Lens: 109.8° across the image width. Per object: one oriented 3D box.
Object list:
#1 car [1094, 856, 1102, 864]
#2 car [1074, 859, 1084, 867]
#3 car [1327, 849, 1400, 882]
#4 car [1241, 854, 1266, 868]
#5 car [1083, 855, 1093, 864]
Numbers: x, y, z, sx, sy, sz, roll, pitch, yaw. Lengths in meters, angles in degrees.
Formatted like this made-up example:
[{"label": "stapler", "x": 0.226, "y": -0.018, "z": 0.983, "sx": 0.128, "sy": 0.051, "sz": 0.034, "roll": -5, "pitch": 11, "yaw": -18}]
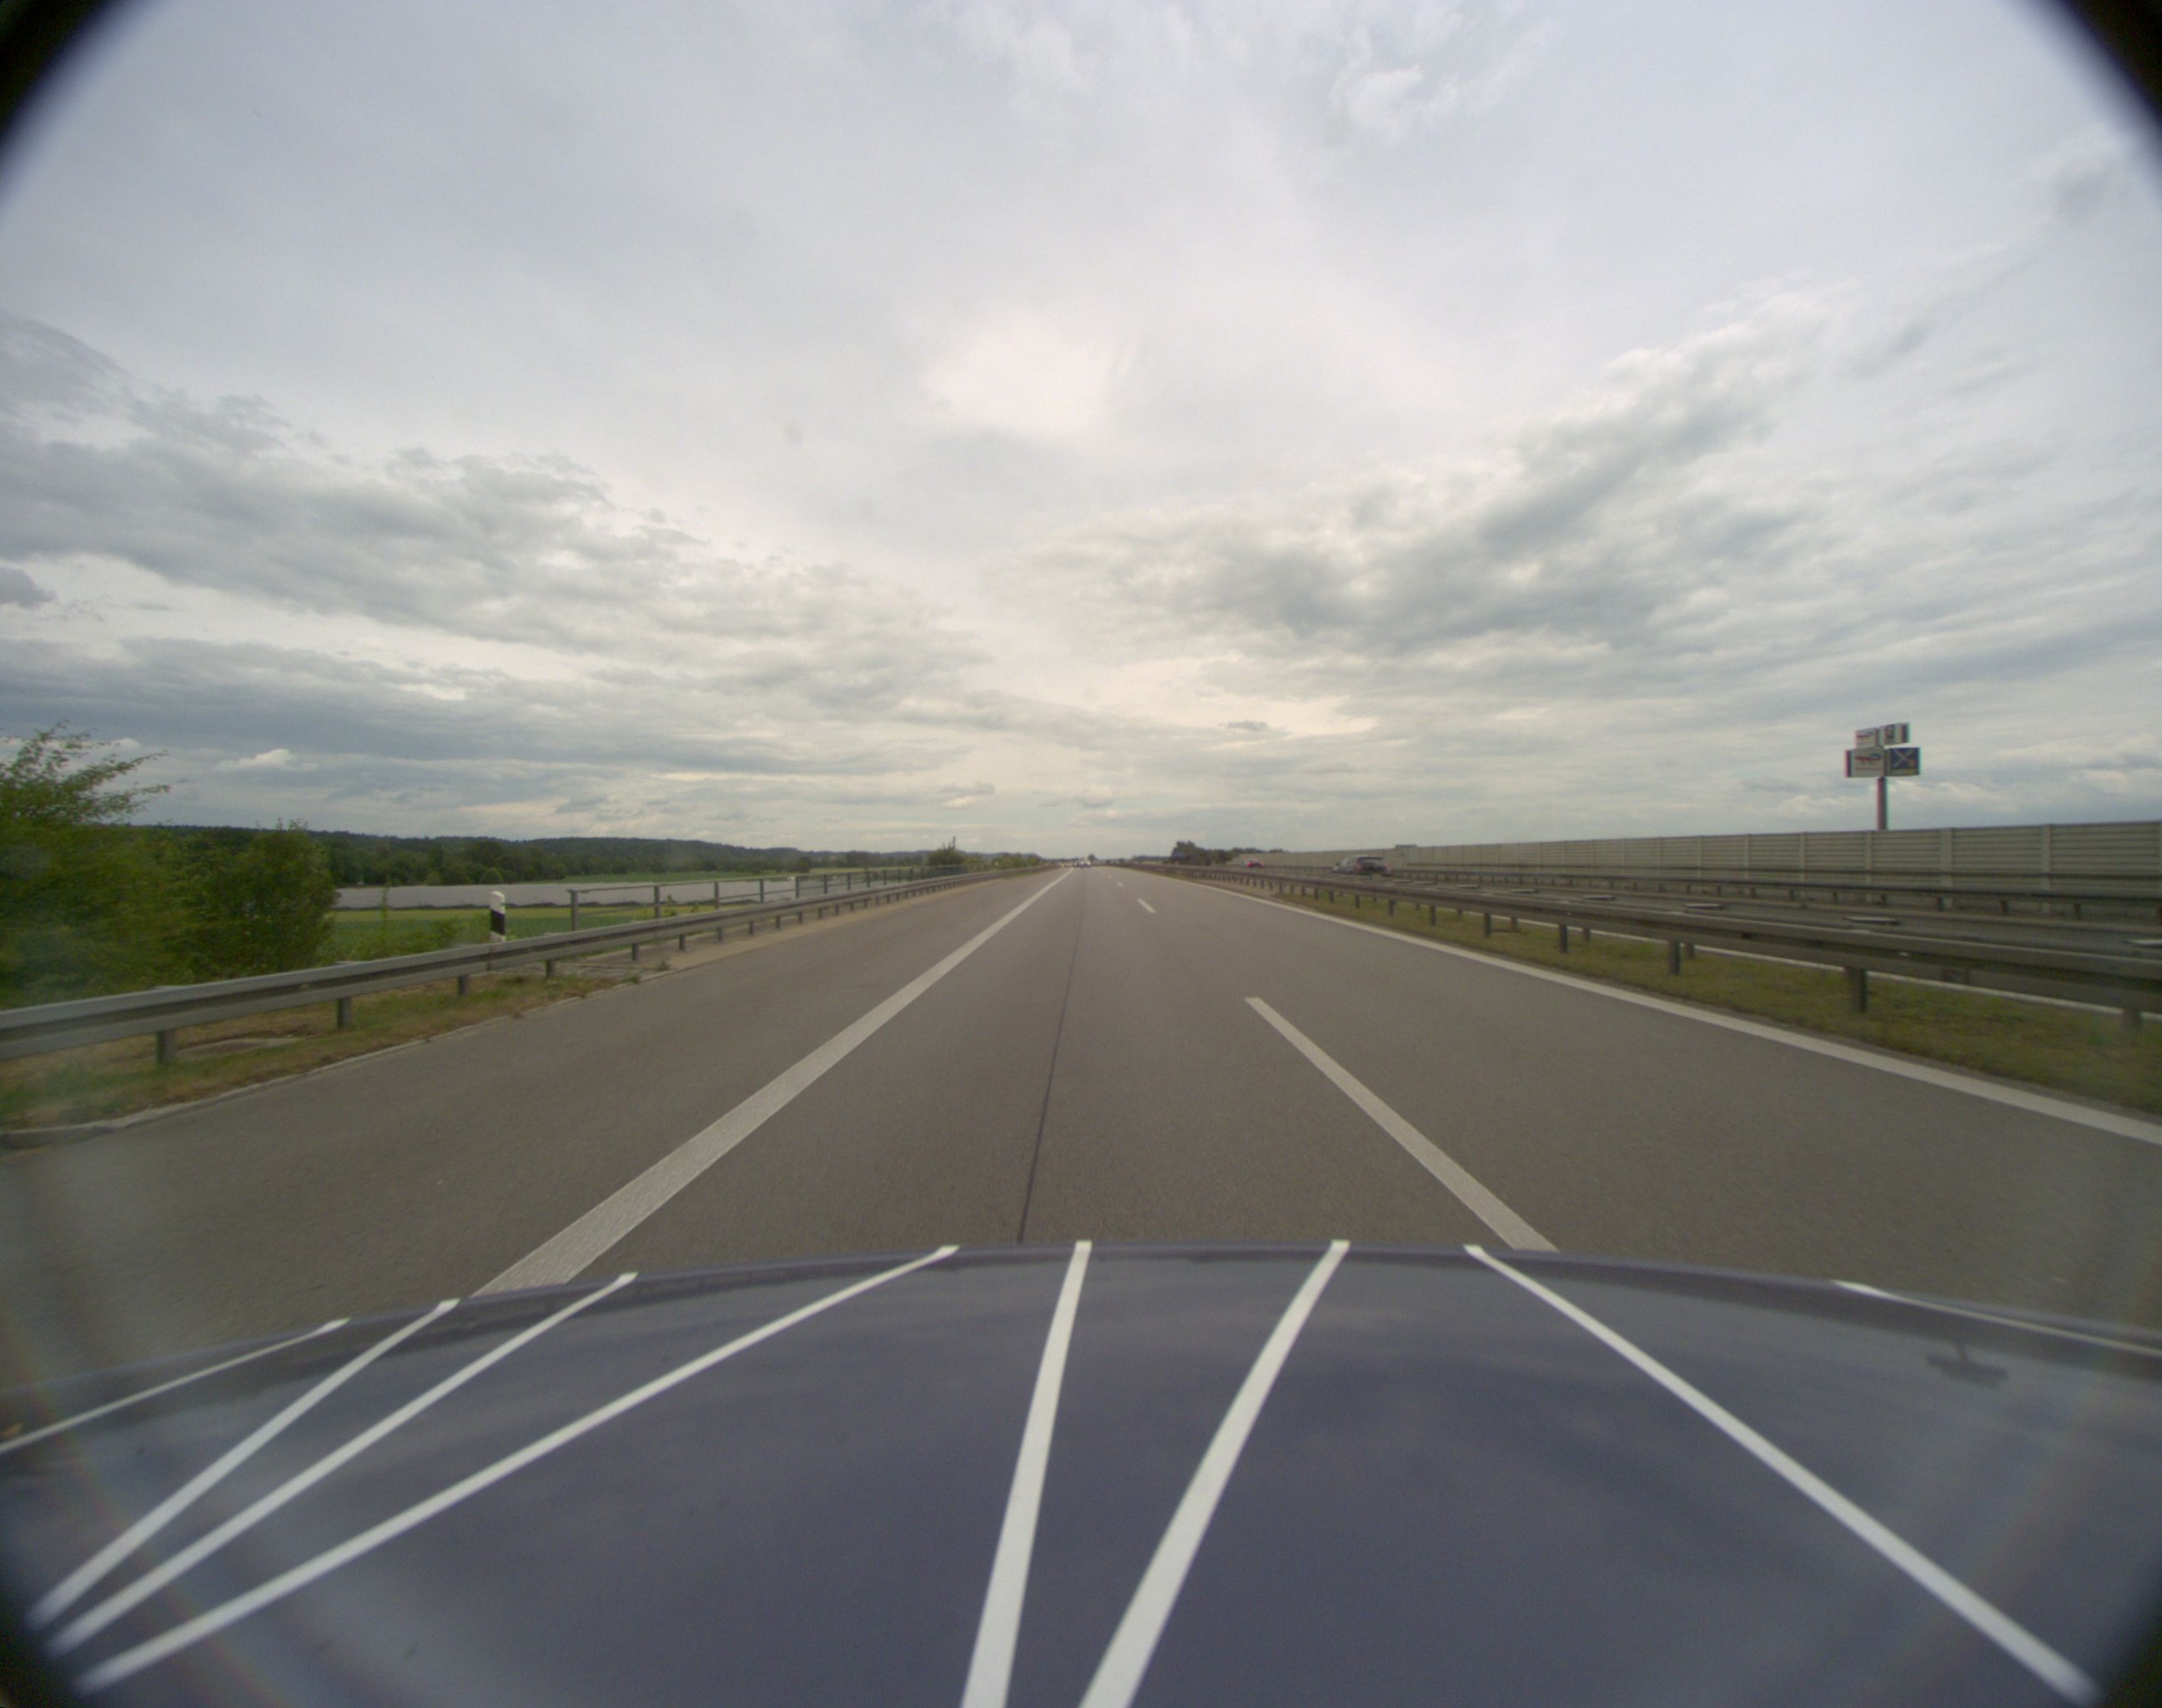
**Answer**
[{"label": "car", "x": 3.912, "y": 1.358, "z": 174.233, "sx": 1.850, "sy": 1.664, "sz": 4.200, "roll": 0, "pitch": -1, "yaw": 0}, {"label": "car", "x": -0.463, "y": 1.957, "z": 163.034, "sx": 1.851, "sy": 1.850, "sz": 4.000, "roll": 0, "pitch": -1, "yaw": -2}, {"label": "car", "x": 13.635, "y": 0.534, "z": 36.958, "sx": 1.800, "sy": 1.365, "sz": 4.683, "roll": 4, "pitch": 0, "yaw": 1}, {"label": "car", "x": 18.797, "y": 0.748, "z": 83.018, "sx": 1.708, "sy": 1.486, "sz": 4.566, "roll": 0, "pitch": 0, "yaw": 1}, {"label": "car", "x": 1.220, "y": 1.070, "z": 139.762, "sx": 1.850, "sy": 1.664, "sz": 4.200, "roll": 0, "pitch": -1, "yaw": 0}]
